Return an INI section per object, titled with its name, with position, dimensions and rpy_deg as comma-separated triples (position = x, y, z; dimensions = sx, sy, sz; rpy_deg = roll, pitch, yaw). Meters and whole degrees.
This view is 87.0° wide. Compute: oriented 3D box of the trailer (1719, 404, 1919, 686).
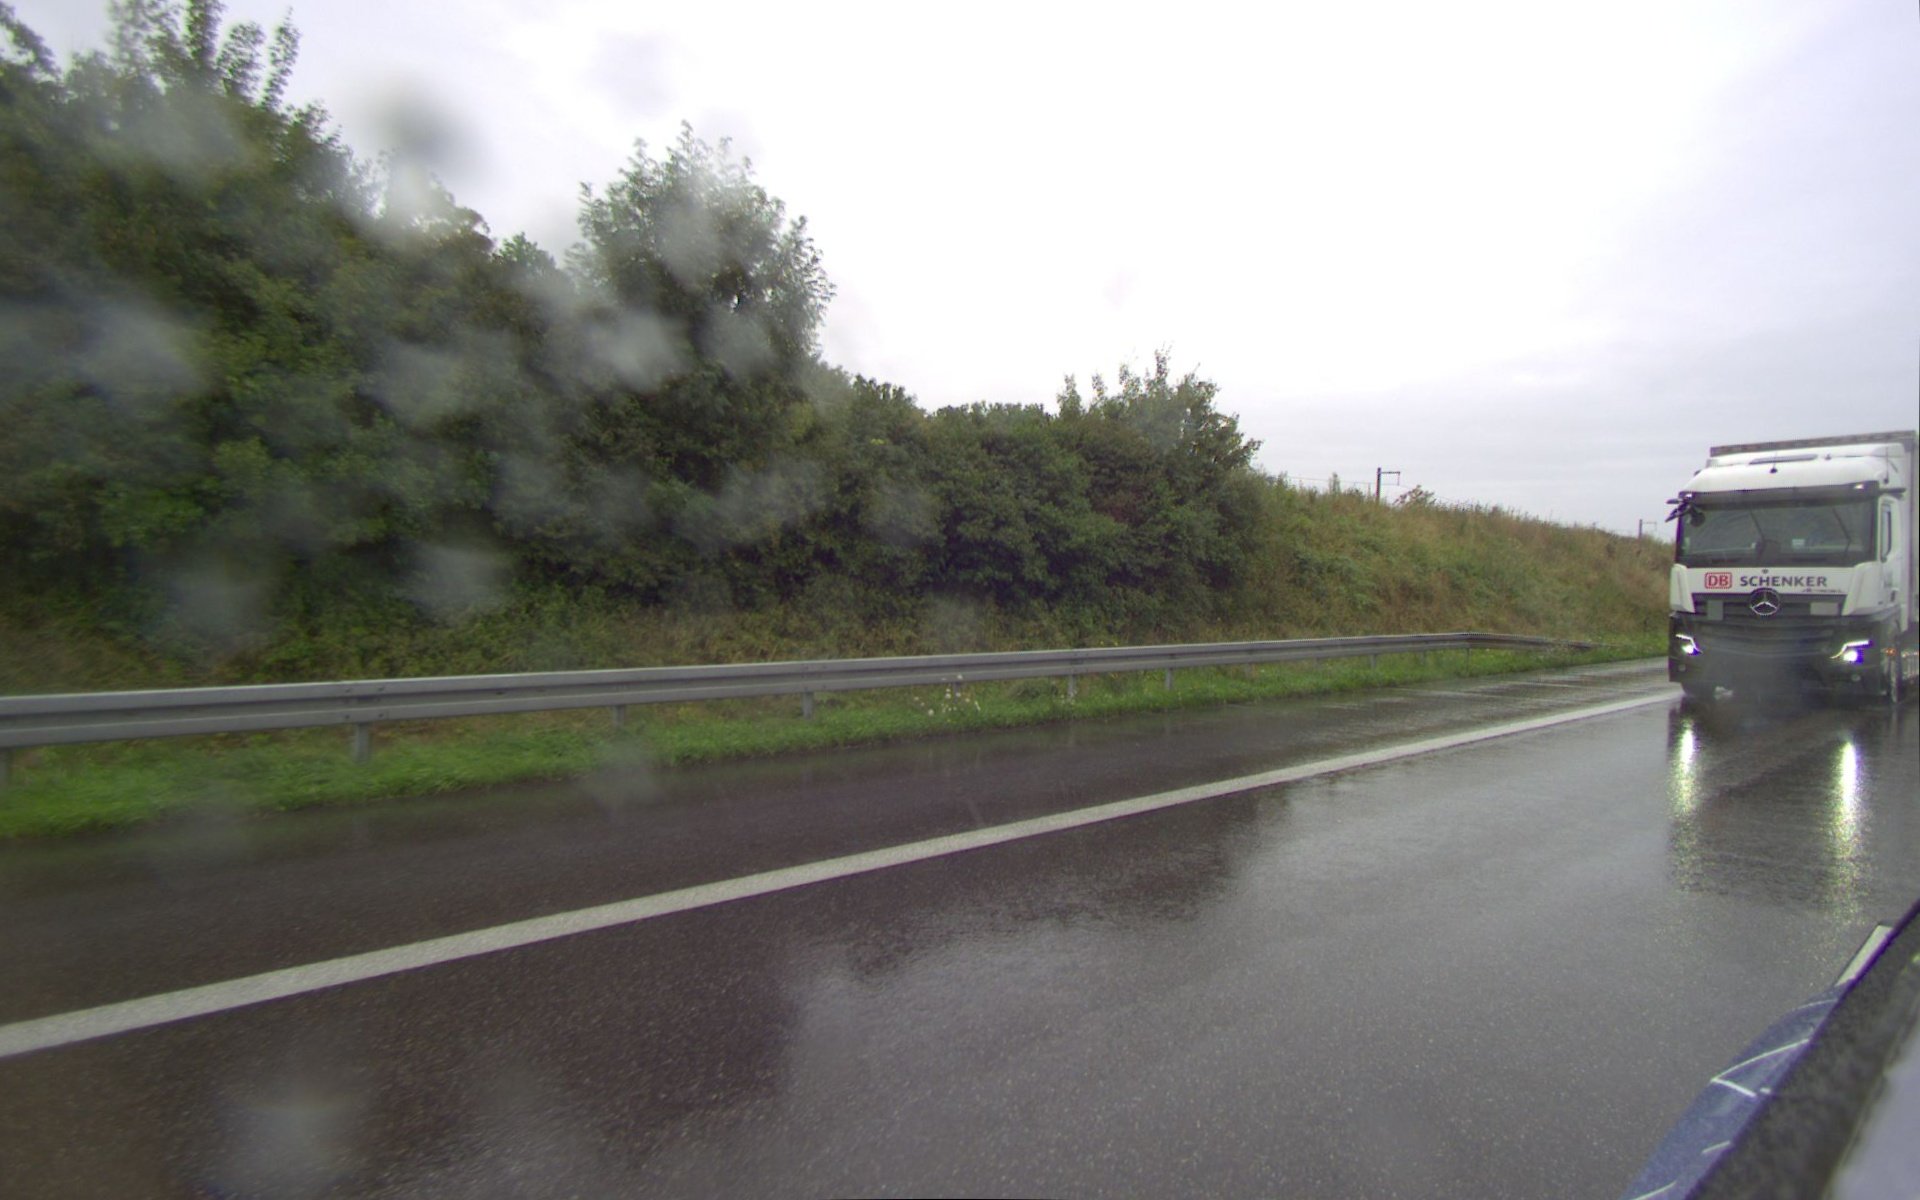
[trailer]
position = 19.156, -0.896, 20.958
dimensions = 13.928, 4.302, 2.631
rpy_deg = 0, 0, -41

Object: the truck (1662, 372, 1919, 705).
[truck]
position = 13.165, -0.823, 15.704
dimensions = 4.956, 4.307, 2.630
rpy_deg = 0, 0, -41
